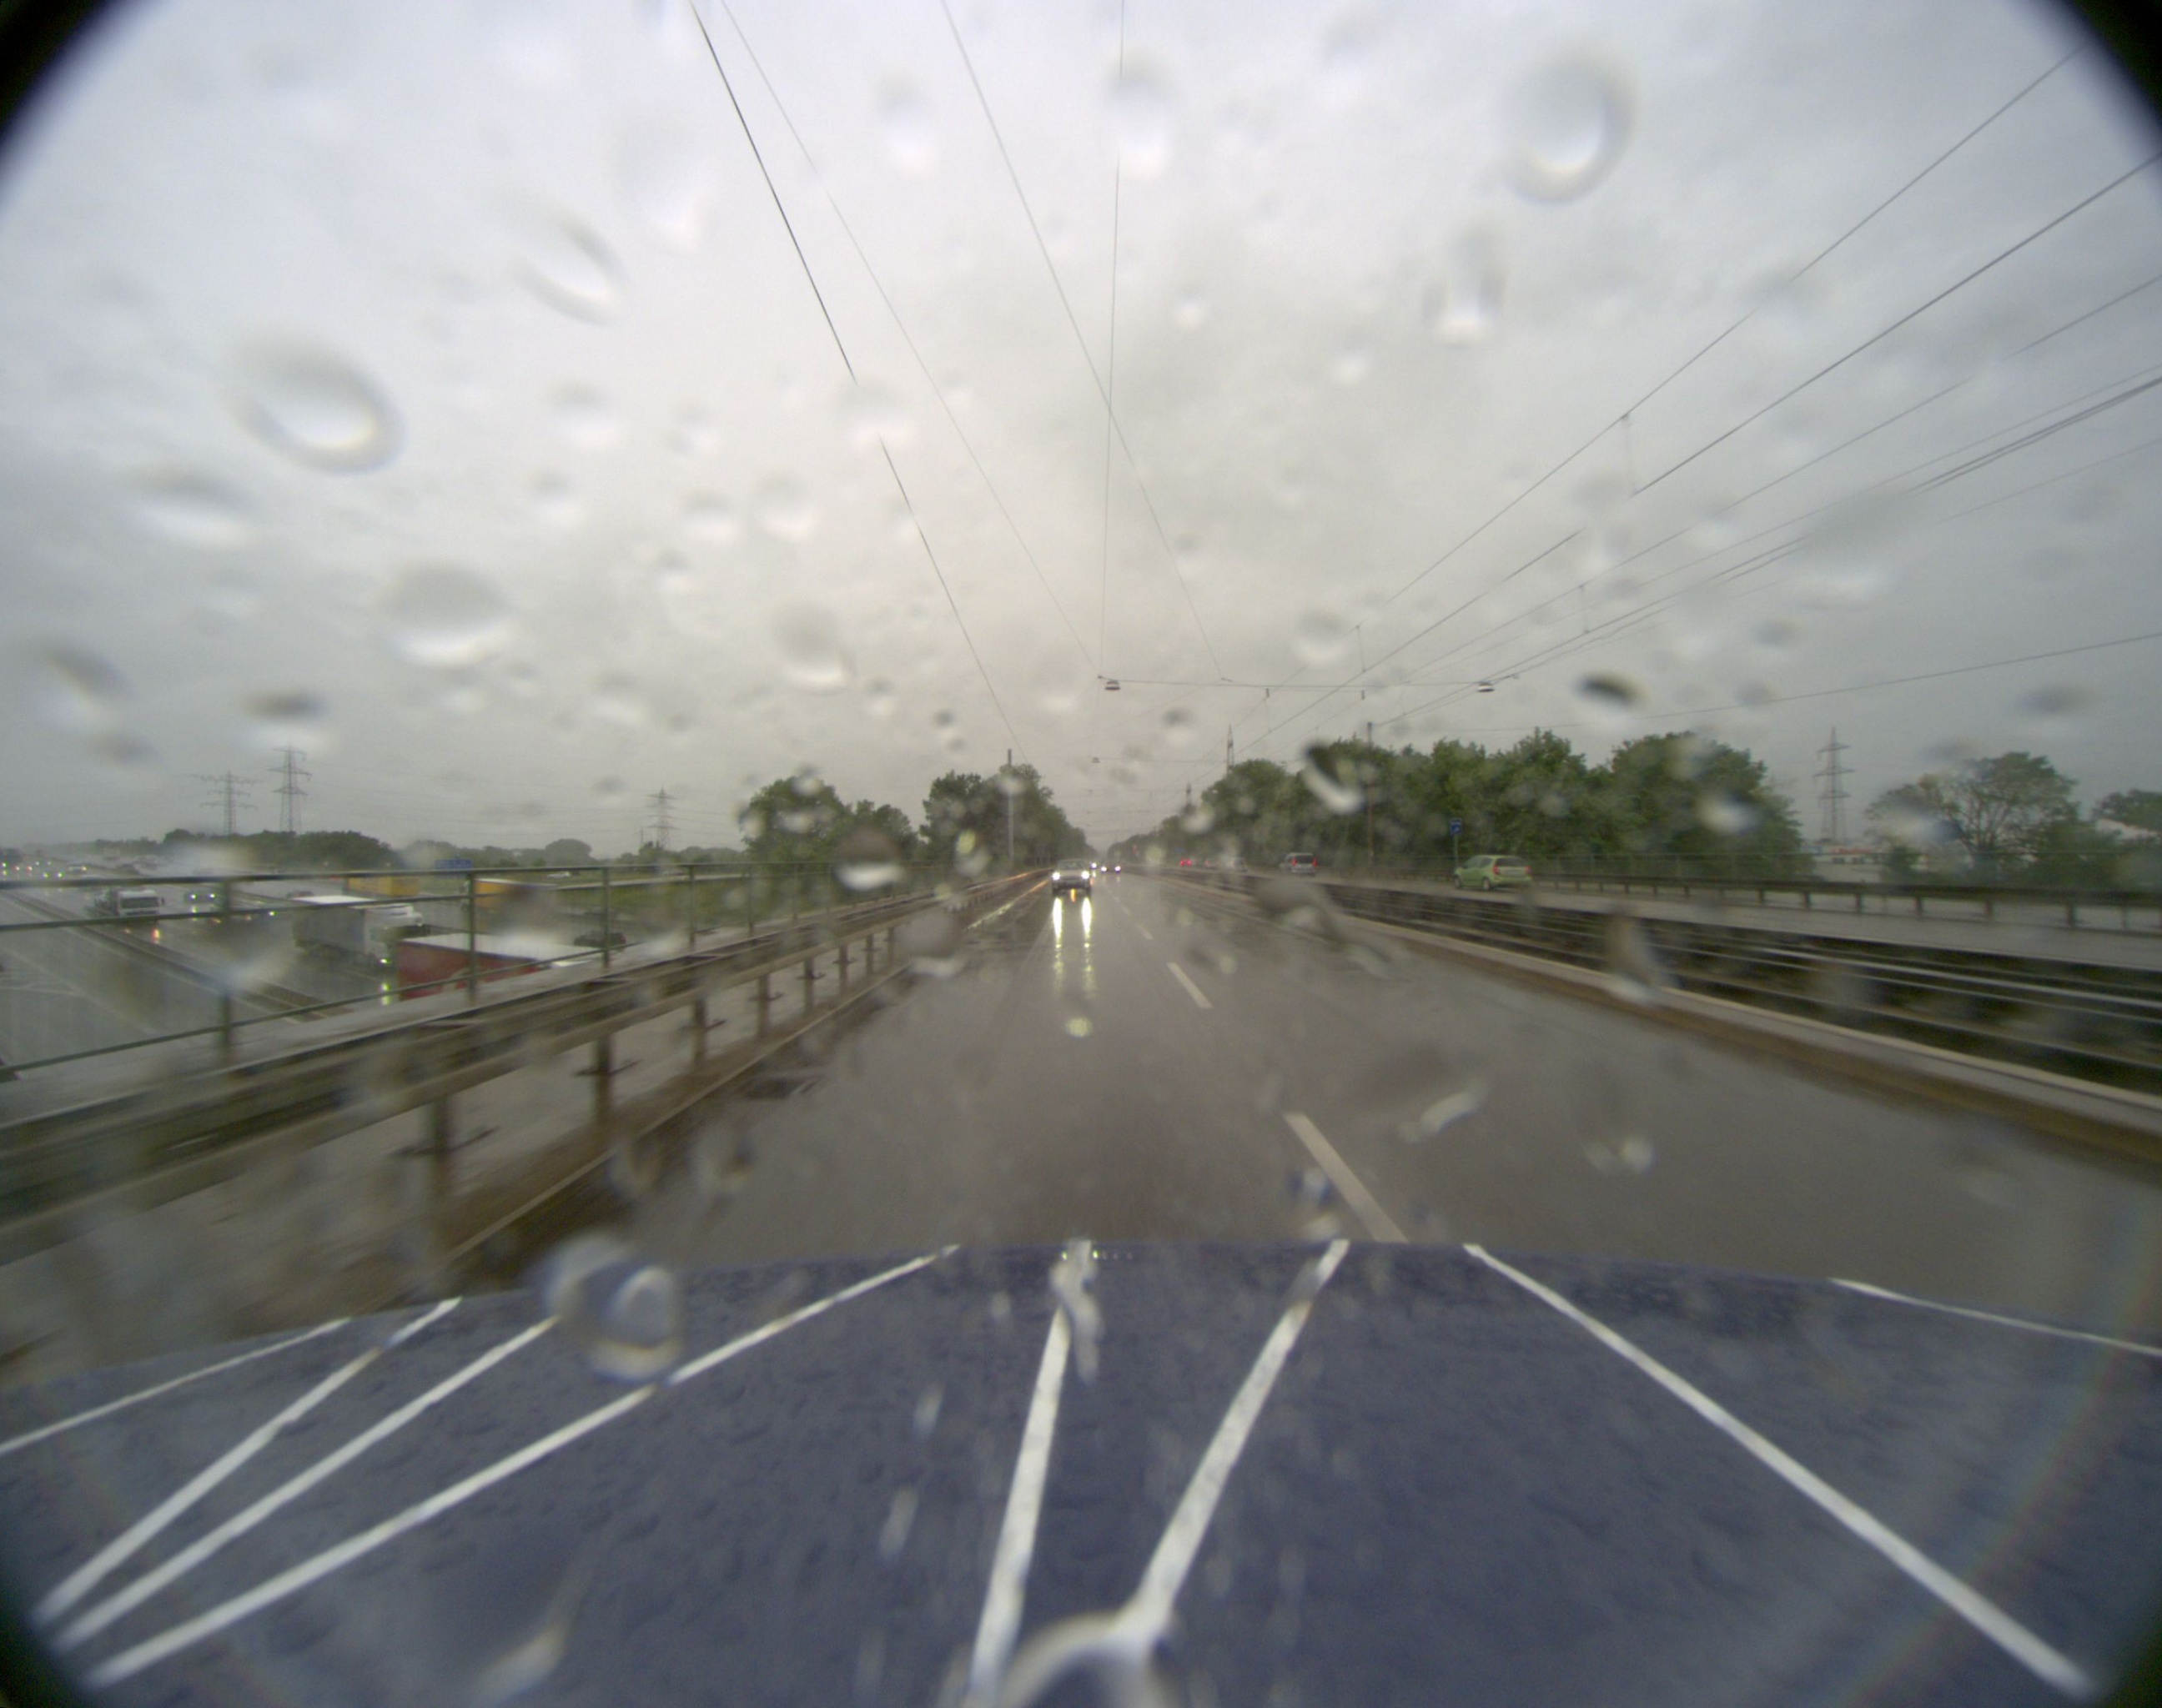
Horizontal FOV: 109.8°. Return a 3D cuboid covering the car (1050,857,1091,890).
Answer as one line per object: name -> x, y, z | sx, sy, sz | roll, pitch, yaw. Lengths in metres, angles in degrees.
car -> -0.435, 0.830, 34.432 | 1.751, 1.412, 4.000 | 0, 0, 0

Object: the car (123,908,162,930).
car -> -87.803, 6.054, 71.047 | 3.860, 1.822, 1.874 | -2, 0, 33

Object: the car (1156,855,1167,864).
car -> 16.427, 1.081, 155.551 | 1.777, 1.621, 3.671 | -4, 0, 0

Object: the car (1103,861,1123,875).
car -> 3.321, 1.458, 80.099 | 1.971, 1.412, 4.000 | 0, 0, 0

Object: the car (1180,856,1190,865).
car -> 20.807, 1.221, 152.081 | 1.777, 1.621, 3.672 | -4, 0, 4

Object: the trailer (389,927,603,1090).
trailer -> -26.373, 6.332, 33.799 | 13.804, 4.922, 3.148 | 1, 3, 34

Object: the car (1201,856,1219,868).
car -> 19.699, 1.212, 115.961 | 1.837, 1.701, 4.661 | -4, 0, 1

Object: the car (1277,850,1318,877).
car -> 16.404, 0.712, 57.781 | 1.853, 1.821, 4.394 | -4, 0, 0

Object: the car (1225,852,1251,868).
car -> 17.093, 0.654, 82.798 | 1.998, 1.608, 4.000 | -1, 0, 0

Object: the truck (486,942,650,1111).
truck -> -19.882, 6.372, 29.423 | 5.788, 5.087, 3.148 | 1, 3, 34

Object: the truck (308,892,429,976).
truck -> -48.433, 5.162, 51.477 | 12.344, 4.419, 3.148 | 1, 3, 34

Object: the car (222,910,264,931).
car -> -76.026, 6.009, 68.900 | 3.860, 1.749, 1.930 | -2, 0, 33

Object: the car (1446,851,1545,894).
car -> 16.780, 0.705, 31.010 | 1.851, 1.585, 4.000 | -1, 0, 0

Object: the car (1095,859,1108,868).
car -> 3.094, 1.423, 115.435 | 1.971, 1.412, 4.000 | 0, 0, 0
